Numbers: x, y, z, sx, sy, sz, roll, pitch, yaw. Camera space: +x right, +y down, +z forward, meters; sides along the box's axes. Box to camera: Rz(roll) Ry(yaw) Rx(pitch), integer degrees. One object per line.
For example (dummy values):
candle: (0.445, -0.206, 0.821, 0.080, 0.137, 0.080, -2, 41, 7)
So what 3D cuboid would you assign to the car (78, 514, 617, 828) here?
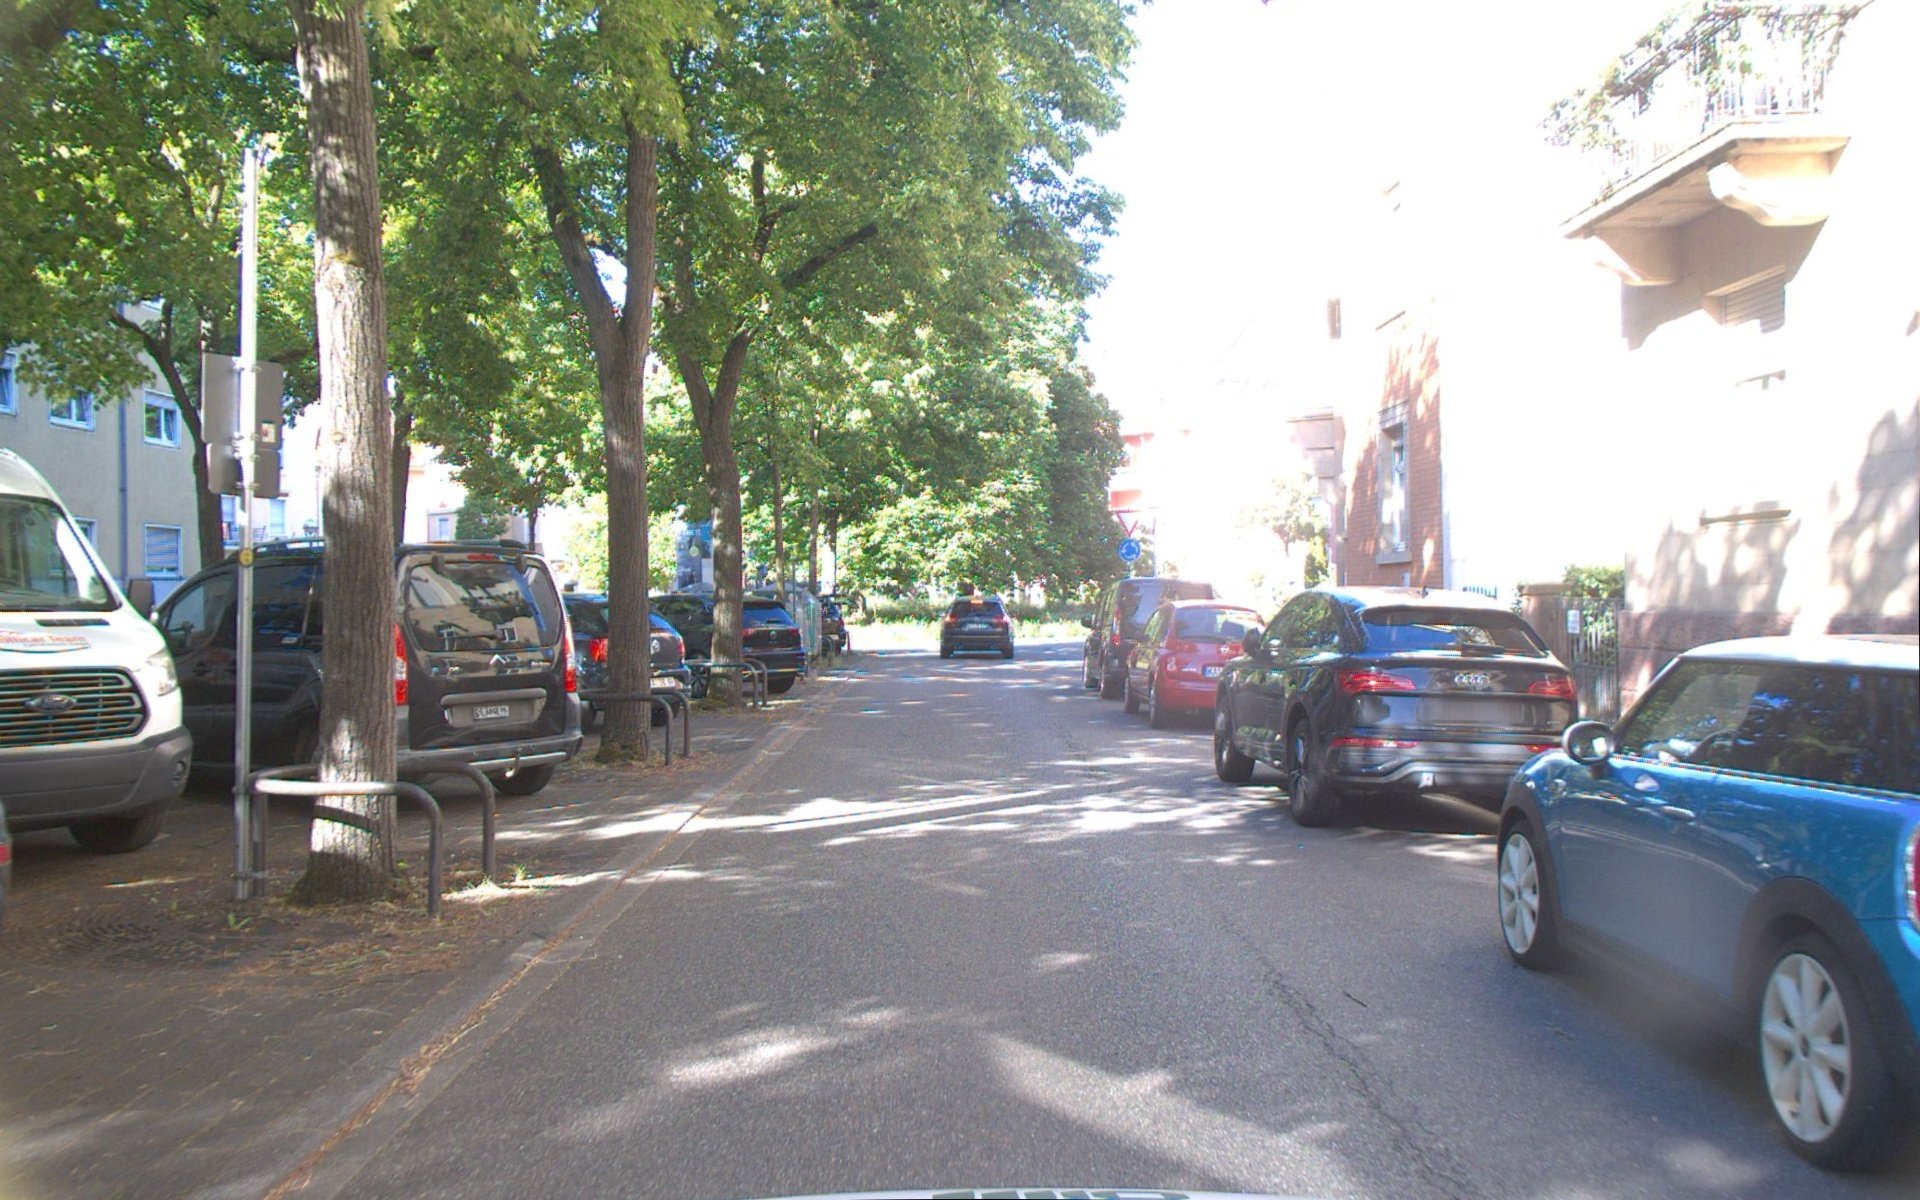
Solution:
car: (-4.472, 0.411, 11.947, 3.772, 1.921, 1.838, 1, 1, 34)

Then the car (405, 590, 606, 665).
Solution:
car: (-9.519, 0.563, 34.723, 3.707, 1.491, 1.646, -1, 0, 11)

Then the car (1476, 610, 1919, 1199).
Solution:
car: (3.165, 0.785, 5.838, 1.557, 1.440, 3.632, 2, 0, 1)

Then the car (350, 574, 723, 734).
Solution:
car: (-4.620, 0.547, 18.137, 3.648, 1.609, 1.637, 1, 0, 18)

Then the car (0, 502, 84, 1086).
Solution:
car: (-4.857, 0.489, 5.164, 4.180, 1.670, 1.653, 2, 0, 28)

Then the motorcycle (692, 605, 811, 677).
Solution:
motorcycle: (-3.476, 0.683, 27.676, 1.898, 1.191, 0.518, 0, 0, 4)

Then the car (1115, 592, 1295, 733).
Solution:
car: (3.066, 0.735, 21.430, 1.612, 1.564, 3.999, 3, 0, -1)

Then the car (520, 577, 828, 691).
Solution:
car: (-4.125, 0.493, 24.176, 4.001, 1.492, 1.868, 1, -1, 10)

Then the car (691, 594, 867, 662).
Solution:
car: (-4.248, 0.635, 38.552, 4.065, 1.507, 1.766, 0, -1, 40)

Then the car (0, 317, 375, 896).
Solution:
car: (-6.759, 0.237, 9.578, 5.937, 2.669, 2.457, -4, -2, 15)

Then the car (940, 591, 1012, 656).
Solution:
car: (0.411, 0.543, 40.781, 1.679, 1.509, 4.145, -1, 0, 1)

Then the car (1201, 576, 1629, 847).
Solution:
car: (3.226, 0.714, 12.737, 1.827, 1.672, 4.489, 2, 0, -3)

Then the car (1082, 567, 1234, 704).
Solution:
car: (3.069, 0.524, 26.403, 1.765, 1.903, 4.272, 3, 0, -1)
